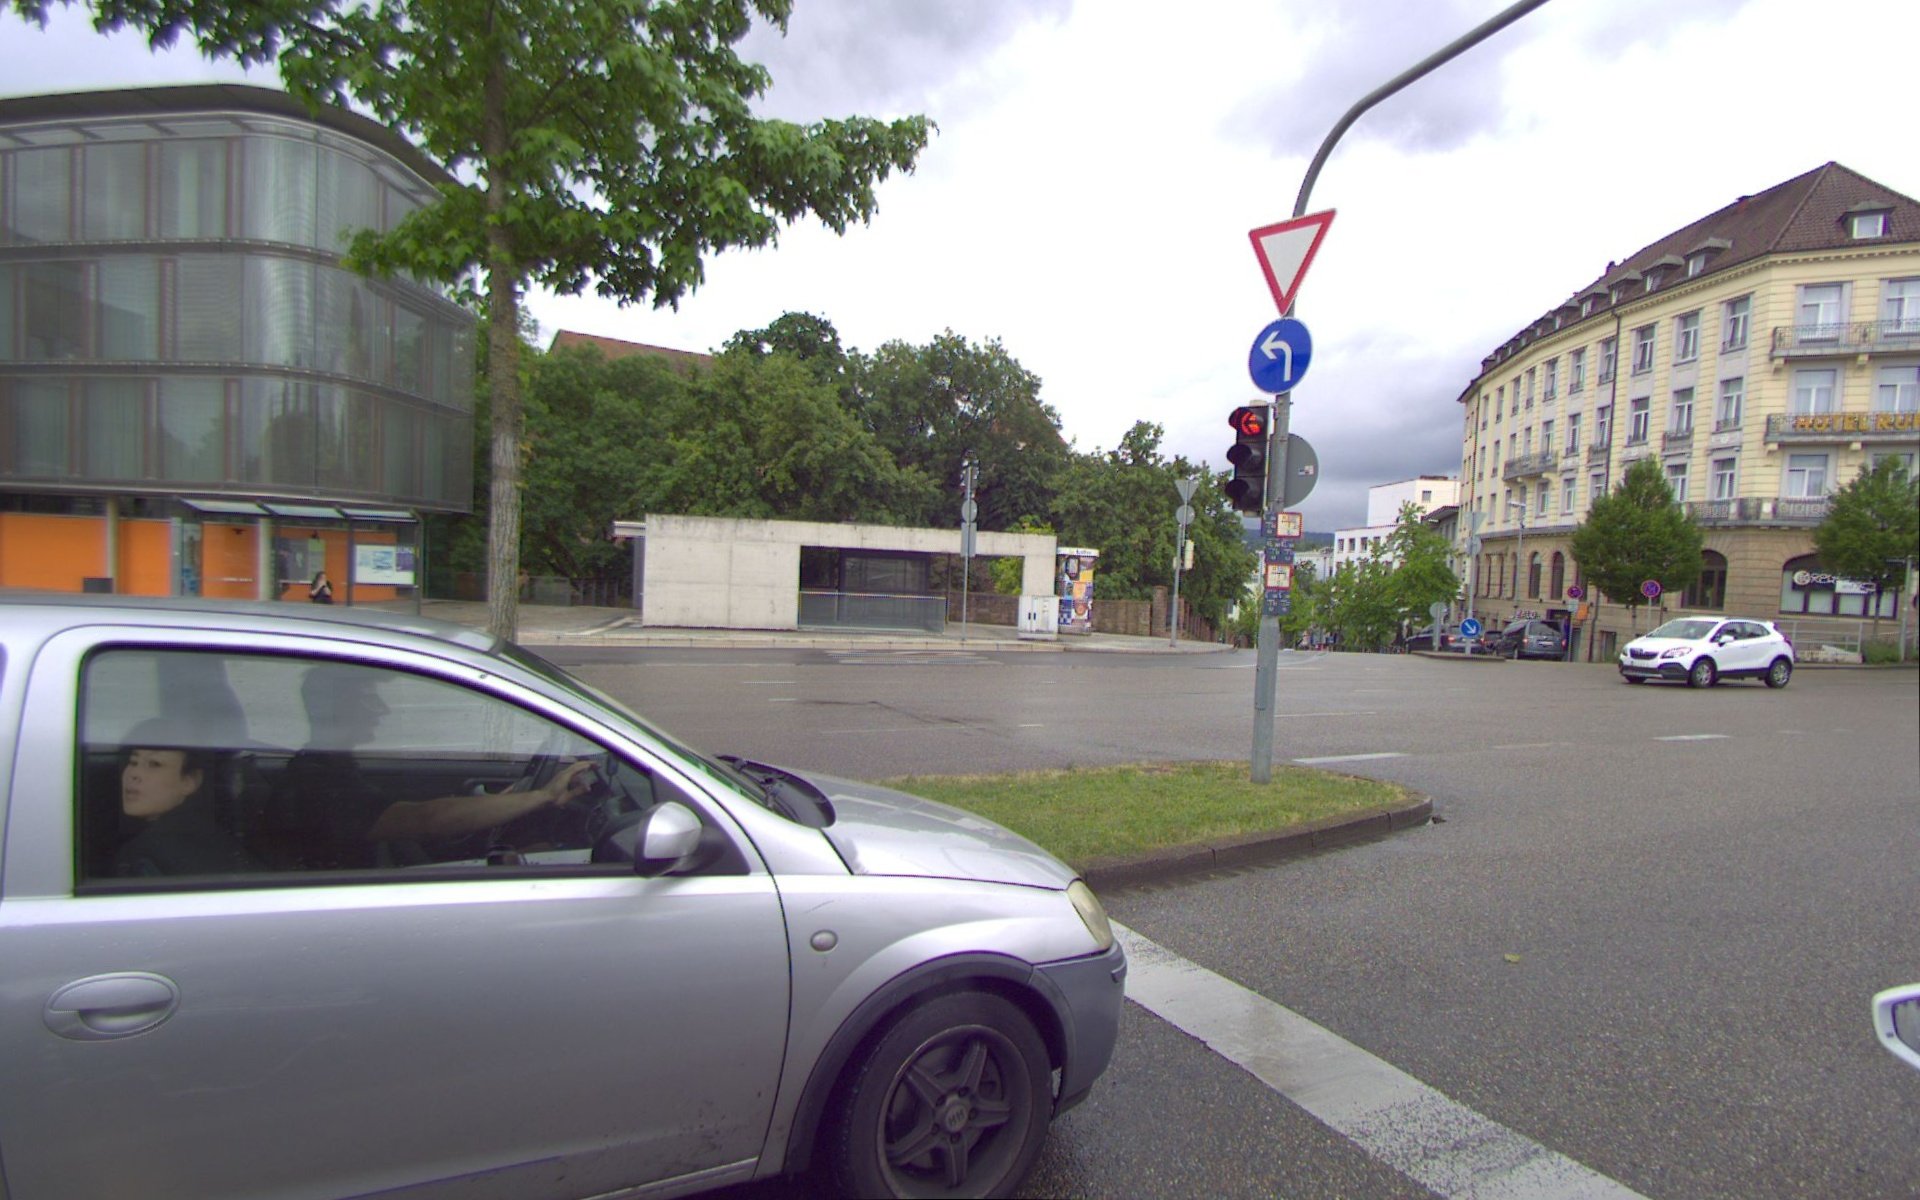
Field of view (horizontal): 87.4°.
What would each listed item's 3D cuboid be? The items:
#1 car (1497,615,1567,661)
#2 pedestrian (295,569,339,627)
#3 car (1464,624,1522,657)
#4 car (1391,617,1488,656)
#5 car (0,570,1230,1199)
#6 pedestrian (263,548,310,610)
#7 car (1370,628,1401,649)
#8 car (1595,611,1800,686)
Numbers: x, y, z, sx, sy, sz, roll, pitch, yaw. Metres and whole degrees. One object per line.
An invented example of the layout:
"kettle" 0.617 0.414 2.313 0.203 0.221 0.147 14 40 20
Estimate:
"car" 24.575 1.597 43.293 1.602 1.783 4.002 2 0 14
"pedestrian" -14.930 -0.045 23.334 0.709 1.316 0.666 2 0 -21
"car" 26.221 1.949 49.547 1.602 1.417 4.002 2 0 14
"car" 20.203 1.504 42.514 1.668 1.485 4.449 2 -1 -4
"car" -1.347 0.710 2.416 3.673 1.485 1.688 2 0 -28
"pedestrian" -19.820 -0.634 29.571 0.809 1.780 0.786 1 3 0
"car" 34.104 3.078 80.556 1.734 1.498 4.002 2 -1 16
"car" 17.755 1.156 24.203 4.143 1.639 1.954 2 0 -19
